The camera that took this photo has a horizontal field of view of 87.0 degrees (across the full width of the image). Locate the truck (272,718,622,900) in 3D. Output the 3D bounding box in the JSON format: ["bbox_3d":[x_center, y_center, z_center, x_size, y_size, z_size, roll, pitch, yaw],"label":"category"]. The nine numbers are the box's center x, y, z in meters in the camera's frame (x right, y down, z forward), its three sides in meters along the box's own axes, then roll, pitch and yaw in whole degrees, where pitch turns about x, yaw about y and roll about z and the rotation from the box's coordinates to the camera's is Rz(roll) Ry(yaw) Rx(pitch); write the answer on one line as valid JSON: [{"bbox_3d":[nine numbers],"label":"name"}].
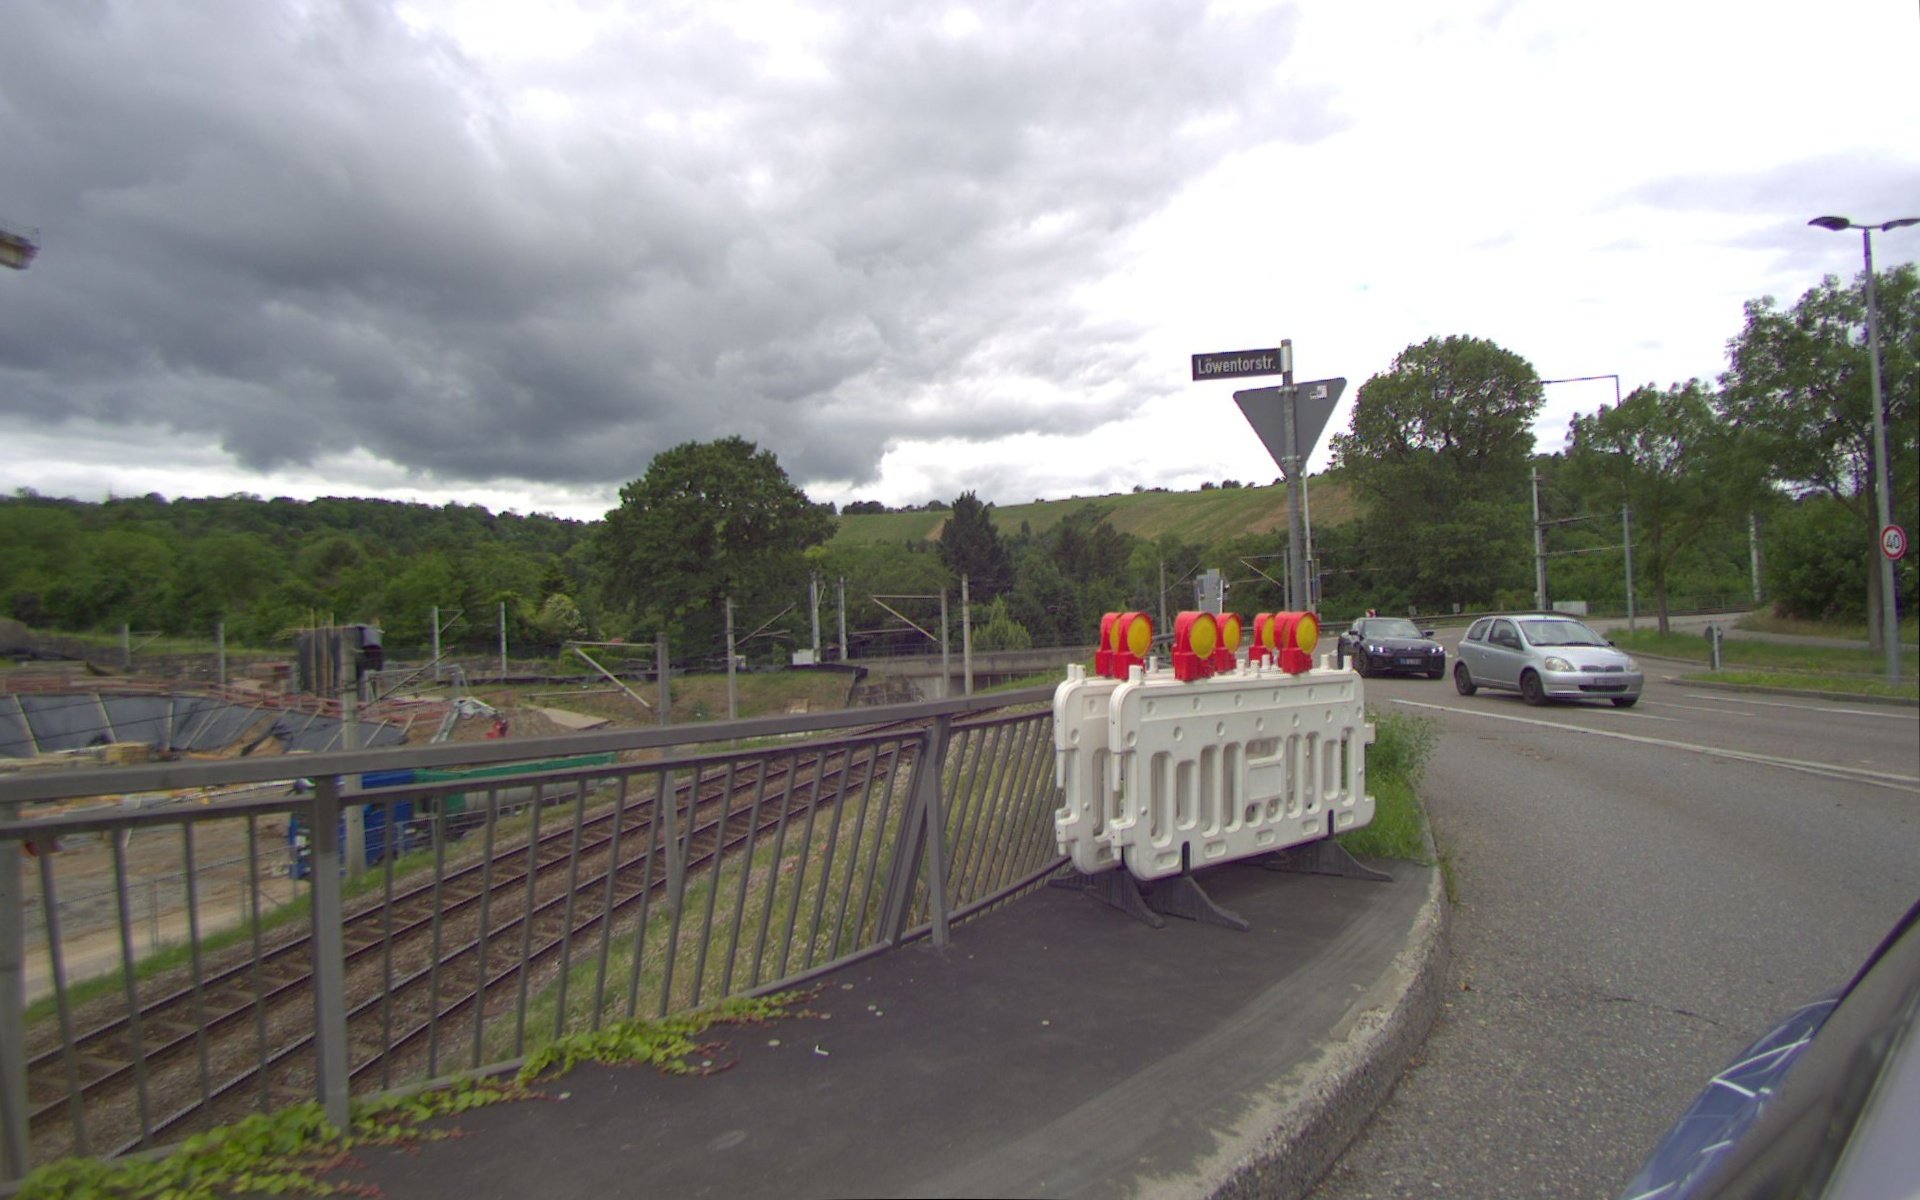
[{"bbox_3d":[-16.118,6.369,33.482,2.811,3.944,11.538,-3,-2,20],"label":"truck"}]

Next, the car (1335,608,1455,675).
[{"bbox_3d":[10.924,0.972,25.777,1.850,1.495,4.946,0,0,12],"label":"car"}]

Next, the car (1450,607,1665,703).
[{"bbox_3d":[10.194,0.873,17.603,1.643,1.488,3.626,-1,-1,2],"label":"car"}]
